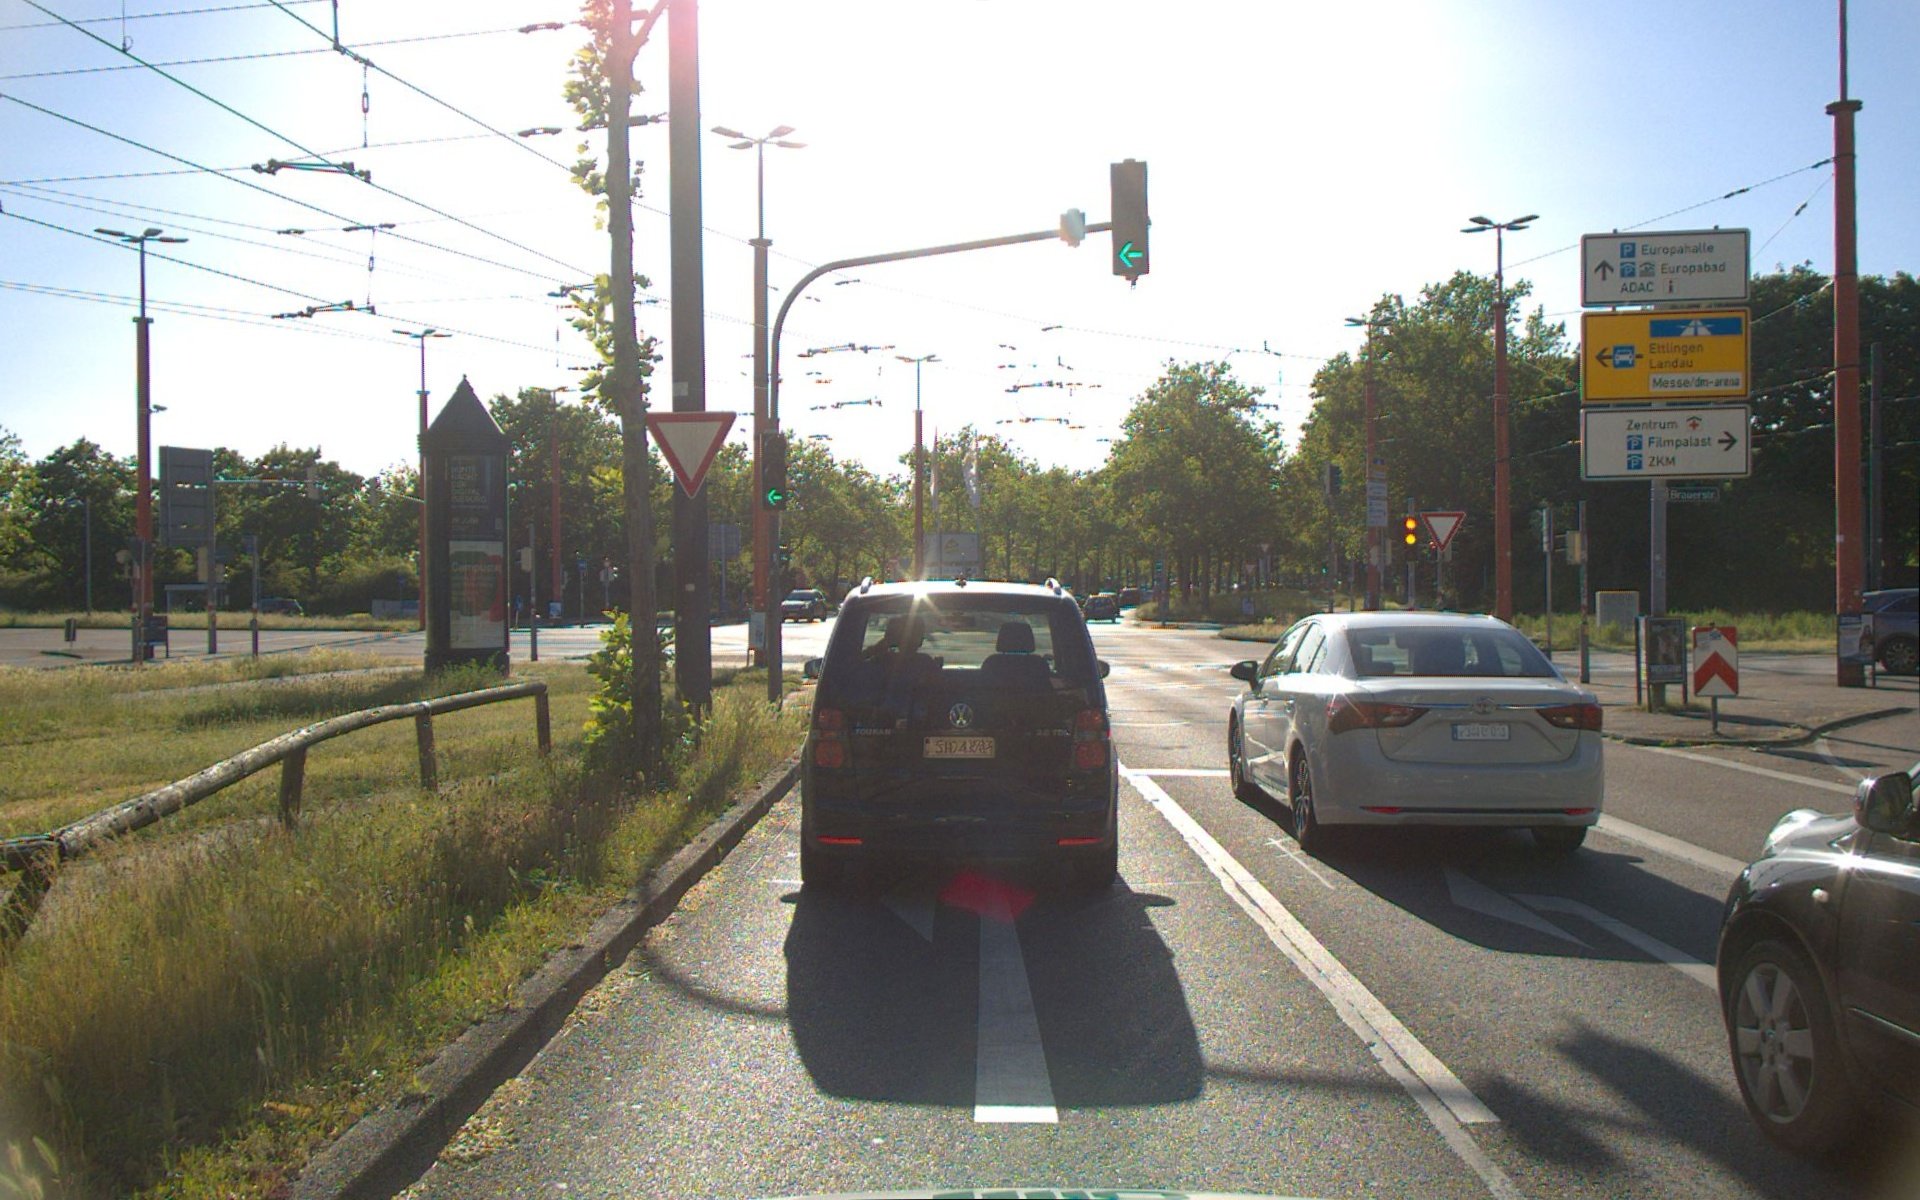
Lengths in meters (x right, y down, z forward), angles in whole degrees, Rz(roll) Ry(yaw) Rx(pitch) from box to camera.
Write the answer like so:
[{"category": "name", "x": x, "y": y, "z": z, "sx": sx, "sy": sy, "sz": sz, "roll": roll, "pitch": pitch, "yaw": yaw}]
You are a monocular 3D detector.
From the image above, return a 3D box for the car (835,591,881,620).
[{"category": "car", "x": -5.588, "y": 0.275, "z": 91.212, "sx": 1.730, "sy": 1.565, "sz": 4.095, "roll": 0, "pitch": 0, "yaw": 9}]

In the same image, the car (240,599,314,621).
[{"category": "car", "x": -40.950, "y": 0.569, "z": 99.145, "sx": 3.907, "sy": 1.288, "sz": 1.943, "roll": 0, "pitch": 0, "yaw": 24}]

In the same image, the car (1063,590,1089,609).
[{"category": "car", "x": 8.975, "y": -0.076, "z": 127.725, "sx": 1.752, "sy": 1.412, "sz": 4.053, "roll": 1, "pitch": 1, "yaw": 7}]

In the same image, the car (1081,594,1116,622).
[{"category": "car", "x": 7.477, "y": 0.411, "z": 88.887, "sx": 1.752, "sy": 1.412, "sz": 4.053, "roll": 1, "pitch": 1, "yaw": 7}]

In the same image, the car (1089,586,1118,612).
[{"category": "car", "x": 9.566, "y": -0.057, "z": 110.197, "sx": 1.833, "sy": 1.655, "sz": 4.002, "roll": 1, "pitch": 0, "yaw": 5}]

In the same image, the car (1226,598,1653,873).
[{"category": "car", "x": 3.017, "y": 0.753, "z": 11.382, "sx": 1.731, "sy": 1.489, "sz": 4.367, "roll": 0, "pitch": 0, "yaw": 1}]

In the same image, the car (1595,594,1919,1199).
[{"category": "car", "x": 3.207, "y": 0.751, "z": 3.791, "sx": 1.699, "sy": 1.508, "sz": 4.622, "roll": 0, "pitch": 0, "yaw": -1}]

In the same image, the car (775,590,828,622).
[{"category": "car", "x": -8.925, "y": 0.299, "z": 93.500, "sx": 1.861, "sy": 1.757, "sz": 4.658, "roll": 0, "pitch": 0, "yaw": 10}]

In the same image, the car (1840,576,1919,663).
[{"category": "car", "x": 20.587, "y": 0.387, "z": 33.769, "sx": 4.588, "sy": 1.734, "sz": 1.997, "roll": 0, "pitch": 0, "yaw": 28}]

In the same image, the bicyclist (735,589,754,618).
[{"category": "bicyclist", "x": -12.252, "y": 0.202, "z": 94.055, "sx": 0.743, "sy": 1.585, "sz": 0.982, "roll": -1, "pitch": 1, "yaw": 17}]

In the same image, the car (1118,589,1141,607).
[{"category": "car", "x": 14.681, "y": -0.191, "z": 142.920, "sx": 1.751, "sy": 1.528, "sz": 4.053, "roll": 1, "pitch": 1, "yaw": 8}]

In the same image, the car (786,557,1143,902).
[{"category": "car", "x": 0.007, "y": 0.609, "z": 10.518, "sx": 1.731, "sy": 1.672, "sz": 4.923, "roll": 0, "pitch": 0, "yaw": 0}]

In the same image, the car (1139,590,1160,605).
[{"category": "car", "x": 18.746, "y": -0.286, "z": 163.481, "sx": 1.751, "sy": 1.412, "sz": 4.053, "roll": 1, "pitch": 1, "yaw": 11}]

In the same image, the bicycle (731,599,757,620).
[{"category": "bicycle", "x": -12.268, "y": 0.536, "z": 93.980, "sx": 0.747, "sy": 1.110, "sz": 2.017, "roll": -1, "pitch": 1, "yaw": 16}]
